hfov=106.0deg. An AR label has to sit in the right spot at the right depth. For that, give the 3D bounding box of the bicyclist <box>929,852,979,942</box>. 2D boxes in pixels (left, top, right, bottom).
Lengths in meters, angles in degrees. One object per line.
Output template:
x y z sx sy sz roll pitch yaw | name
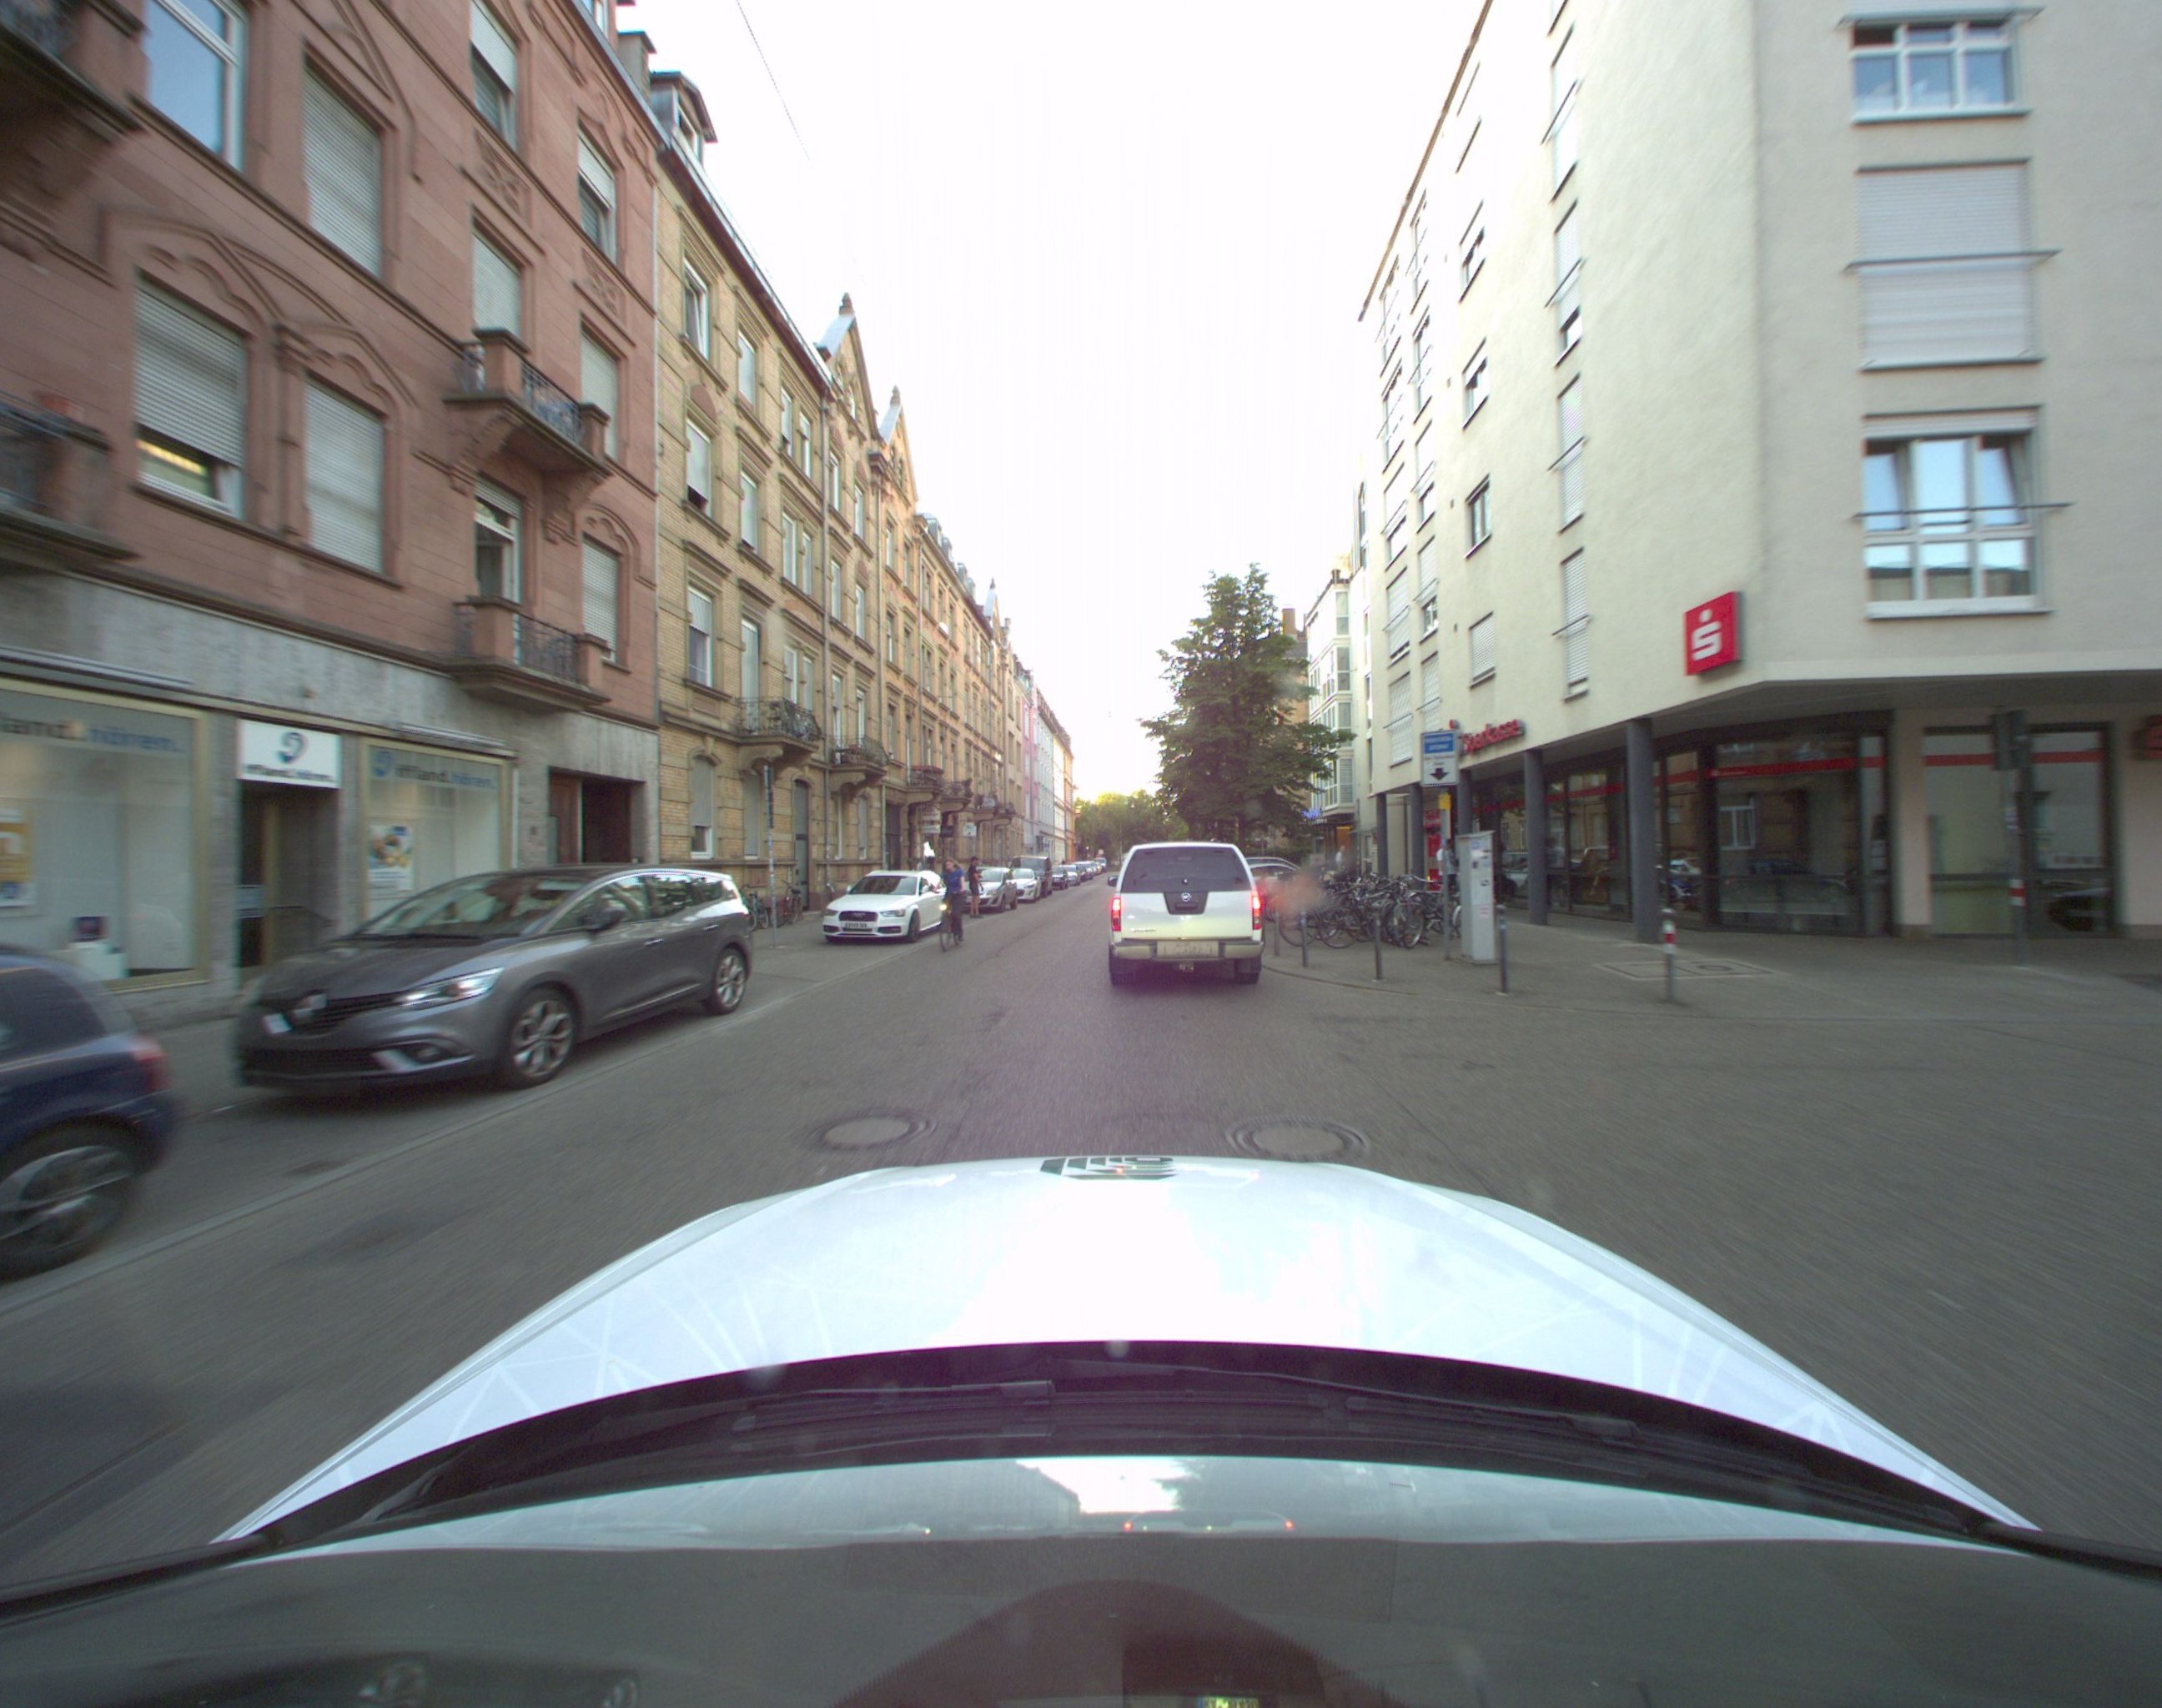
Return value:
-2.396 0.790 15.434 0.641 1.621 0.920 -3 -1 7 | bicyclist

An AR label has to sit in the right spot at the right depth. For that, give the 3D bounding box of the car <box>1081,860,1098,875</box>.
0.983 1.524 90.313 1.691 1.621 4.026 1 -1 4 | car

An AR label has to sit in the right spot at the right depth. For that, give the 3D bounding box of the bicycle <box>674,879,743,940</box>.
-7.554 1.098 16.583 0.513 1.132 1.732 -1 0 4 | bicycle

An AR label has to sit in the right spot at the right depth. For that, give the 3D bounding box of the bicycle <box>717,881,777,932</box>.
-7.377 1.145 18.061 0.562 1.036 1.626 -1 0 4 | bicycle

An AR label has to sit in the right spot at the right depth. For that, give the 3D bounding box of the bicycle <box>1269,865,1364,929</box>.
4.928 0.895 17.095 1.775 1.182 0.737 -5 -2 14 | bicycle

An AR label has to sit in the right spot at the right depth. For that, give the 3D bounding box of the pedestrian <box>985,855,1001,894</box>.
-4.161 0.950 38.438 0.603 1.772 0.777 2 0 0 | pedestrian

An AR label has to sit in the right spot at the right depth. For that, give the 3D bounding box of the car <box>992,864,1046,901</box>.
-2.578 1.177 34.856 1.776 1.423 4.488 1 0 2 | car

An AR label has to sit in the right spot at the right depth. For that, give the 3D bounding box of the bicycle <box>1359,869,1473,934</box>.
5.929 0.837 14.484 1.713 1.054 0.655 -3 -1 7 | bicycle

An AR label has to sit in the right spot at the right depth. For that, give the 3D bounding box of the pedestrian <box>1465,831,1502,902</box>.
10.148 0.306 20.535 0.656 1.723 0.667 -2 1 38 | pedestrian

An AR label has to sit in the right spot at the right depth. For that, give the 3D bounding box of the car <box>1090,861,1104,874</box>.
2.022 1.667 102.339 1.692 1.552 4.023 1 -1 2 | car

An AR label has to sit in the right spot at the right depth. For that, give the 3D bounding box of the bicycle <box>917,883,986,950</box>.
-2.392 1.139 15.353 0.641 1.081 2.173 -3 -1 7 | bicycle

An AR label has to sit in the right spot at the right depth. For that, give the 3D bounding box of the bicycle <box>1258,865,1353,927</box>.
4.924 0.913 17.940 1.858 1.182 0.744 -5 -2 8 | bicycle

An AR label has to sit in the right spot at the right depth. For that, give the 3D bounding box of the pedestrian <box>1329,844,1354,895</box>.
9.091 0.550 28.432 0.625 1.753 0.586 0 -2 -7 | pedestrian

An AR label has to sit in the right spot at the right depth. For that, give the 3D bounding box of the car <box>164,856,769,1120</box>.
-4.725 0.835 7.331 1.844 1.633 4.451 0 0 4 | car

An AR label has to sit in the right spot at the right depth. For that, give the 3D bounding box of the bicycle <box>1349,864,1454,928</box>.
6.117 0.801 15.634 1.713 1.118 0.655 -3 -1 7 | bicycle

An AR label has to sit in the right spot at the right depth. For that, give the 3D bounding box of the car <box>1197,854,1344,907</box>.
6.215 0.870 27.045 4.412 1.455 1.778 -3 -1 -2 | car

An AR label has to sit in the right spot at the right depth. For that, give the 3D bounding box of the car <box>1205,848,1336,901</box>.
6.837 0.752 29.780 4.380 1.647 1.748 -3 -1 3 | car

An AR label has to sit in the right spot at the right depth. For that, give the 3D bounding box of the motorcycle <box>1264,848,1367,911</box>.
6.299 0.687 22.019 2.478 1.549 0.825 -4 -2 6 | motorcycle

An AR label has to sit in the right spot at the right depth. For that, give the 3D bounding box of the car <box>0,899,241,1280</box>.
-5.049 0.935 2.183 1.577 1.420 3.701 0 0 5 | car

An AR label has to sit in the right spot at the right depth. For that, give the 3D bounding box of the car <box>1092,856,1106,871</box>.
2.466 1.272 110.483 1.805 1.977 4.185 1 -1 0 | car

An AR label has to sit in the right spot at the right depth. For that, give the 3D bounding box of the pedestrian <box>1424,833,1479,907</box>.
9.074 0.381 19.965 0.780 1.723 0.903 -4 1 -40 | pedestrian

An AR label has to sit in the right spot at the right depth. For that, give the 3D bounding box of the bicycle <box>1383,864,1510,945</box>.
5.728 0.778 12.795 1.721 1.132 0.577 -3 -1 -8 | bicycle

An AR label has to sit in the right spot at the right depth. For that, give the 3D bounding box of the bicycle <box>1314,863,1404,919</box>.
6.126 0.805 18.014 1.716 1.118 0.654 -3 -1 1 | bicycle

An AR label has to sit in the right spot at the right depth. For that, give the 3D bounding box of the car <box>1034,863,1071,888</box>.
-1.662 1.257 49.330 1.729 1.418 4.783 1 -1 4 | car

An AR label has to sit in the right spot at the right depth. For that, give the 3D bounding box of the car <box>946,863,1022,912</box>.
-3.165 1.071 27.364 1.708 1.457 4.006 1 0 5 | car

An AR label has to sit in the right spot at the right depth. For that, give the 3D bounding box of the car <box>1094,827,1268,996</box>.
1.388 0.646 11.615 1.901 1.853 5.279 0 0 6 | car

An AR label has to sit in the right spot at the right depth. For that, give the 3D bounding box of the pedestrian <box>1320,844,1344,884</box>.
11.135 0.462 36.143 0.724 1.716 0.964 -3 -1 4 | pedestrian

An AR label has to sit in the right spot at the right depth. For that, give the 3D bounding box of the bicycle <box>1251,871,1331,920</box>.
5.118 1.013 19.928 1.763 1.022 0.566 -5 -2 6 | bicycle

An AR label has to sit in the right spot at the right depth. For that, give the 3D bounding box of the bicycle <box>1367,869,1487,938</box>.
5.842 0.827 13.816 1.713 1.054 0.655 -3 -1 7 | bicycle

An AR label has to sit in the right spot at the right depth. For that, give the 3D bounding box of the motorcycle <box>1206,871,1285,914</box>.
4.643 1.073 23.025 2.059 1.078 0.661 -3 -1 -12 | motorcycle

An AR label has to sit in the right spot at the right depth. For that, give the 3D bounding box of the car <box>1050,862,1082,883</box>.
-1.025 1.301 58.383 1.826 1.458 4.211 2 0 4 | car

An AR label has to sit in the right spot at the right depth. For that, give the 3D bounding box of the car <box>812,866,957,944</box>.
-4.081 1.000 17.722 1.750 1.412 4.513 0 0 4 | car

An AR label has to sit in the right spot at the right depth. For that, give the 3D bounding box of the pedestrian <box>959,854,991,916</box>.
-3.075 0.891 23.702 0.550 1.756 1.026 -1 -2 16 | pedestrian

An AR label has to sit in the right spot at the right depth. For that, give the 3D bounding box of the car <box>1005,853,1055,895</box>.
-2.440 0.953 40.088 1.986 1.924 4.953 1 0 2 | car

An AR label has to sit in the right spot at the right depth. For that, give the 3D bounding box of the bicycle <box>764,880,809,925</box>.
-7.254 1.175 20.142 0.591 1.027 1.622 0 0 -3 | bicycle

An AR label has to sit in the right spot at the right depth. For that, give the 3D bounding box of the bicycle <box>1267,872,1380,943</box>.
4.198 0.918 14.180 1.715 1.118 0.707 -3 -1 2 | bicycle

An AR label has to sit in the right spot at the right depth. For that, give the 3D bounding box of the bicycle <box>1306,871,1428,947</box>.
4.633 0.890 13.289 1.713 1.118 0.708 -3 -1 7 | bicycle

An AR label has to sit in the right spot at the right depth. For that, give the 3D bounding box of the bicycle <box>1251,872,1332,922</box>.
4.975 1.006 19.320 1.710 1.031 0.668 -5 -2 6 | bicycle

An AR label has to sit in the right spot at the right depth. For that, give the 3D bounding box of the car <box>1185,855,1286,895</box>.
6.580 0.877 34.980 3.972 1.456 1.829 -3 0 1 | car

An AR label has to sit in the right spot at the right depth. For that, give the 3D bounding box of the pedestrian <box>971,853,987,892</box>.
-4.791 0.856 38.251 0.578 1.771 0.997 2 0 0 | pedestrian

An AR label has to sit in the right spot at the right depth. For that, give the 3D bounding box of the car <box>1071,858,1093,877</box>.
0.096 1.251 74.462 1.838 1.659 4.253 -1 -1 1 | car

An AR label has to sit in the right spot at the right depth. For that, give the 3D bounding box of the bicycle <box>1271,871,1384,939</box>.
4.498 0.924 14.945 1.802 1.118 0.707 -3 -1 2 | bicycle

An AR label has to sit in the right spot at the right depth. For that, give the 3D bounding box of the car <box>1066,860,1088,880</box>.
-0.294 1.319 68.216 1.629 1.565 3.784 0 -1 3 | car

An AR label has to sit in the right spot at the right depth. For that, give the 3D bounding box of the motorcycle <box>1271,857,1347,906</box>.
7.000 0.827 25.030 2.050 1.369 0.717 -4 -1 0 | motorcycle

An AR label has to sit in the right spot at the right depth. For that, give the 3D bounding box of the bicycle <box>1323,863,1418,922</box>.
6.125 0.808 17.291 1.716 1.118 0.654 -3 -1 1 | bicycle

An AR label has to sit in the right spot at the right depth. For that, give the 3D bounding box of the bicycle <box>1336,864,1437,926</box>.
6.053 0.803 16.210 1.713 1.118 0.655 -3 -1 7 | bicycle
